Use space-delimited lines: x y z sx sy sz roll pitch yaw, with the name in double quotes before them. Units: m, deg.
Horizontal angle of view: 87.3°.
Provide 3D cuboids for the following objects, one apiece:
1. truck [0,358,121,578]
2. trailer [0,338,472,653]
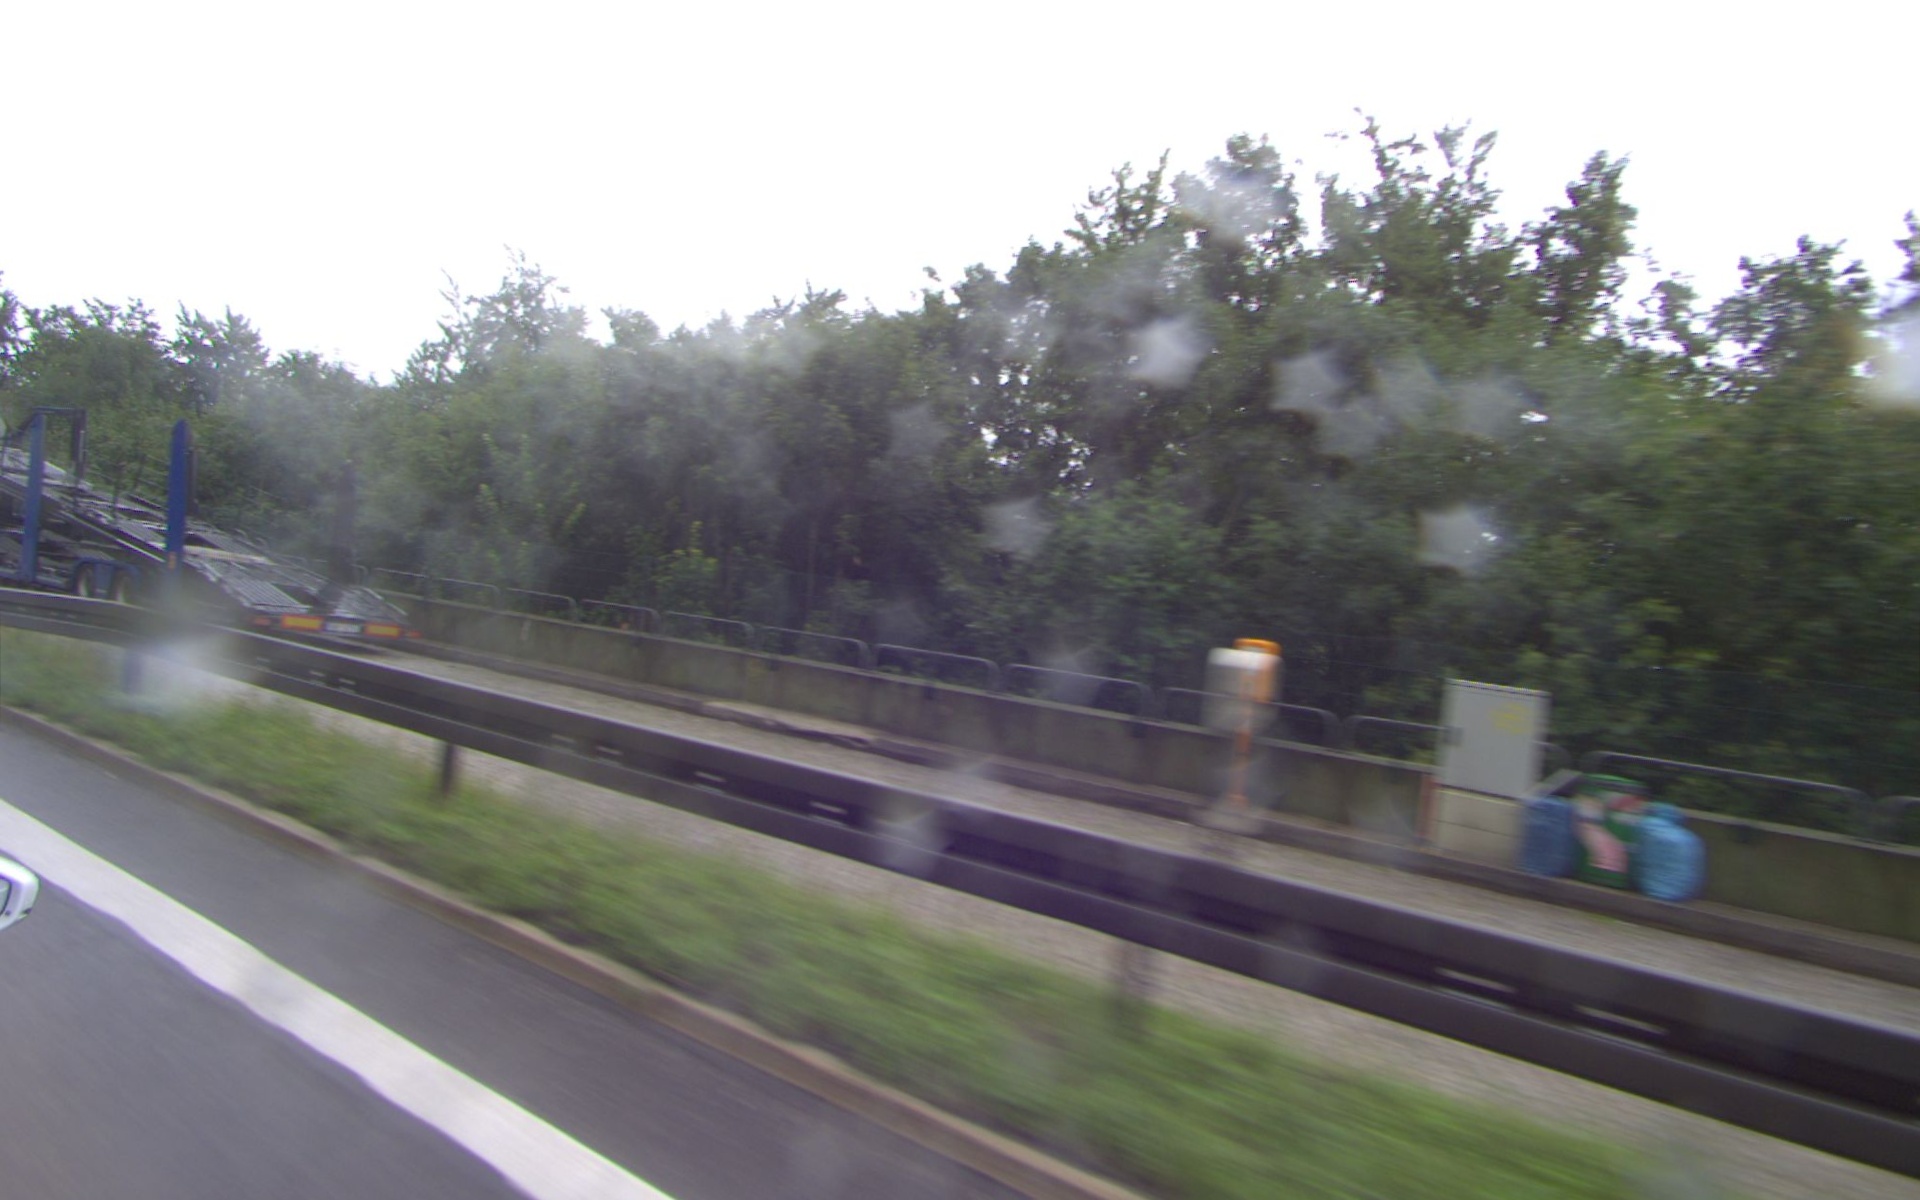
"truck" -22.498 -3.089 22.644 6.762 4.295 2.903 7 -1 28
"trailer" -15.262 -2.096 18.706 14.443 4.295 2.899 7 -1 28
